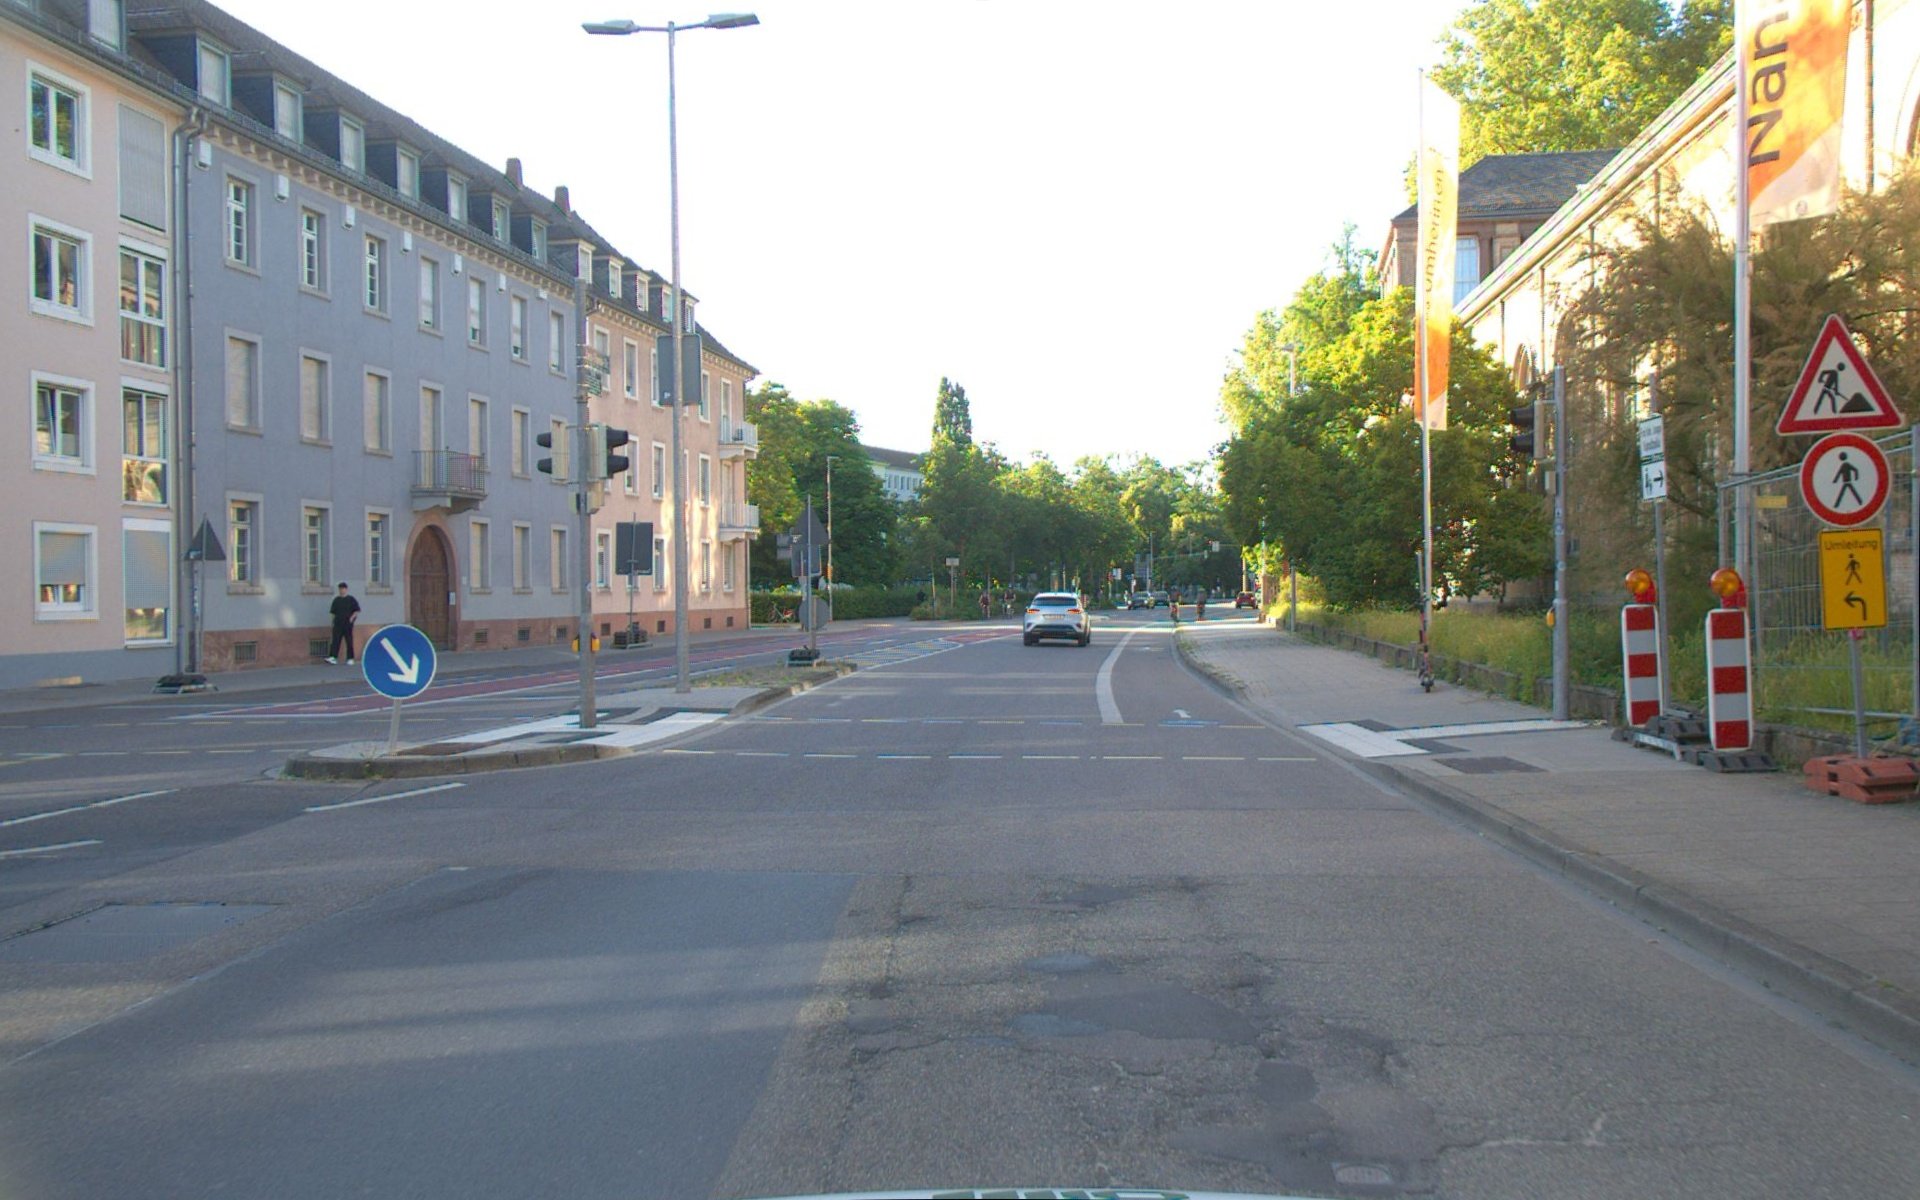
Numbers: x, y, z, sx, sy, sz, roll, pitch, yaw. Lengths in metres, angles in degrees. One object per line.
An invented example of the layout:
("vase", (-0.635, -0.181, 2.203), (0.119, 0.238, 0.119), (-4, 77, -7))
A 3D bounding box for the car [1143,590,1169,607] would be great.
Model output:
("car", (17.942, -0.120, 151.305), (1.721, 1.484, 4.003), (-1, 0, 17))

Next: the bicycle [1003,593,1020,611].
("bicycle", (2.987, 0.111, 95.699), (0.632, 1.013, 2.111), (-2, 0, 9))

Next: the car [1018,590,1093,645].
("car", (2.824, 0.490, 48.202), (1.951, 1.478, 4.003), (-2, 0, 6))

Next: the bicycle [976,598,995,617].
("bicycle", (1.478, 0.425, 94.985), (0.721, 1.013, 2.111), (-2, 1, 11))

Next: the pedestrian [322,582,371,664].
("pedestrian", (-14.374, 0.526, 38.769), (0.618, 1.878, 1.014), (2, 0, 7))

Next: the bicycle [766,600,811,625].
("bicycle", (-9.076, 0.670, 87.358), (2.270, 1.251, 0.560), (-1, 0, 14))

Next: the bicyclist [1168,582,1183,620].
("bicyclist", (9.508, 0.048, 73.059), (0.622, 1.642, 1.285), (0, 0, 9))

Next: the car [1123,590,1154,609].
("car", (14.647, -0.070, 135.509), (1.773, 1.444, 4.558), (-1, 0, 15))

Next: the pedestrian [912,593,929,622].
("pedestrian", (-2.563, 0.486, 106.985), (0.837, 1.884, 1.002), (-2, 0, 13))

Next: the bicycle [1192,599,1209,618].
("bicycle", (14.081, 0.495, 96.788), (0.737, 1.044, 1.871), (0, 0, 15))

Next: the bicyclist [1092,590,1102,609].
("bicyclist", (11.355, -0.023, 137.452), (0.616, 1.549, 0.725), (-4, 0, 13))

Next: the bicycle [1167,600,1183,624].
("bicycle", (9.494, 0.514, 72.934), (0.629, 1.042, 2.214), (1, 1, 9))

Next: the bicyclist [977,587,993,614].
("bicyclist", (1.450, 0.029, 95.013), (0.722, 1.511, 0.665), (-3, 0, 12))

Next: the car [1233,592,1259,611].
("car", (24.986, 0.112, 144.376), (1.888, 1.560, 4.003), (-2, 0, 15))

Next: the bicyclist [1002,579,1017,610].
("bicyclist", (2.867, -0.338, 95.792), (0.622, 1.740, 0.739), (-4, 0, 9))

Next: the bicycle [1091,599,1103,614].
("bicycle", (11.385, 0.518, 137.371), (0.584, 1.140, 2.029), (-4, 0, 13))

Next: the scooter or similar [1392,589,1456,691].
("scooter or similar", (6.380, 0.530, 22.821), (0.543, 1.331, 1.833), (-1, 0, 7))

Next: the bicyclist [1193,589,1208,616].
("bicyclist", (14.089, 0.146, 96.816), (0.731, 1.564, 0.970), (0, 0, 15))
